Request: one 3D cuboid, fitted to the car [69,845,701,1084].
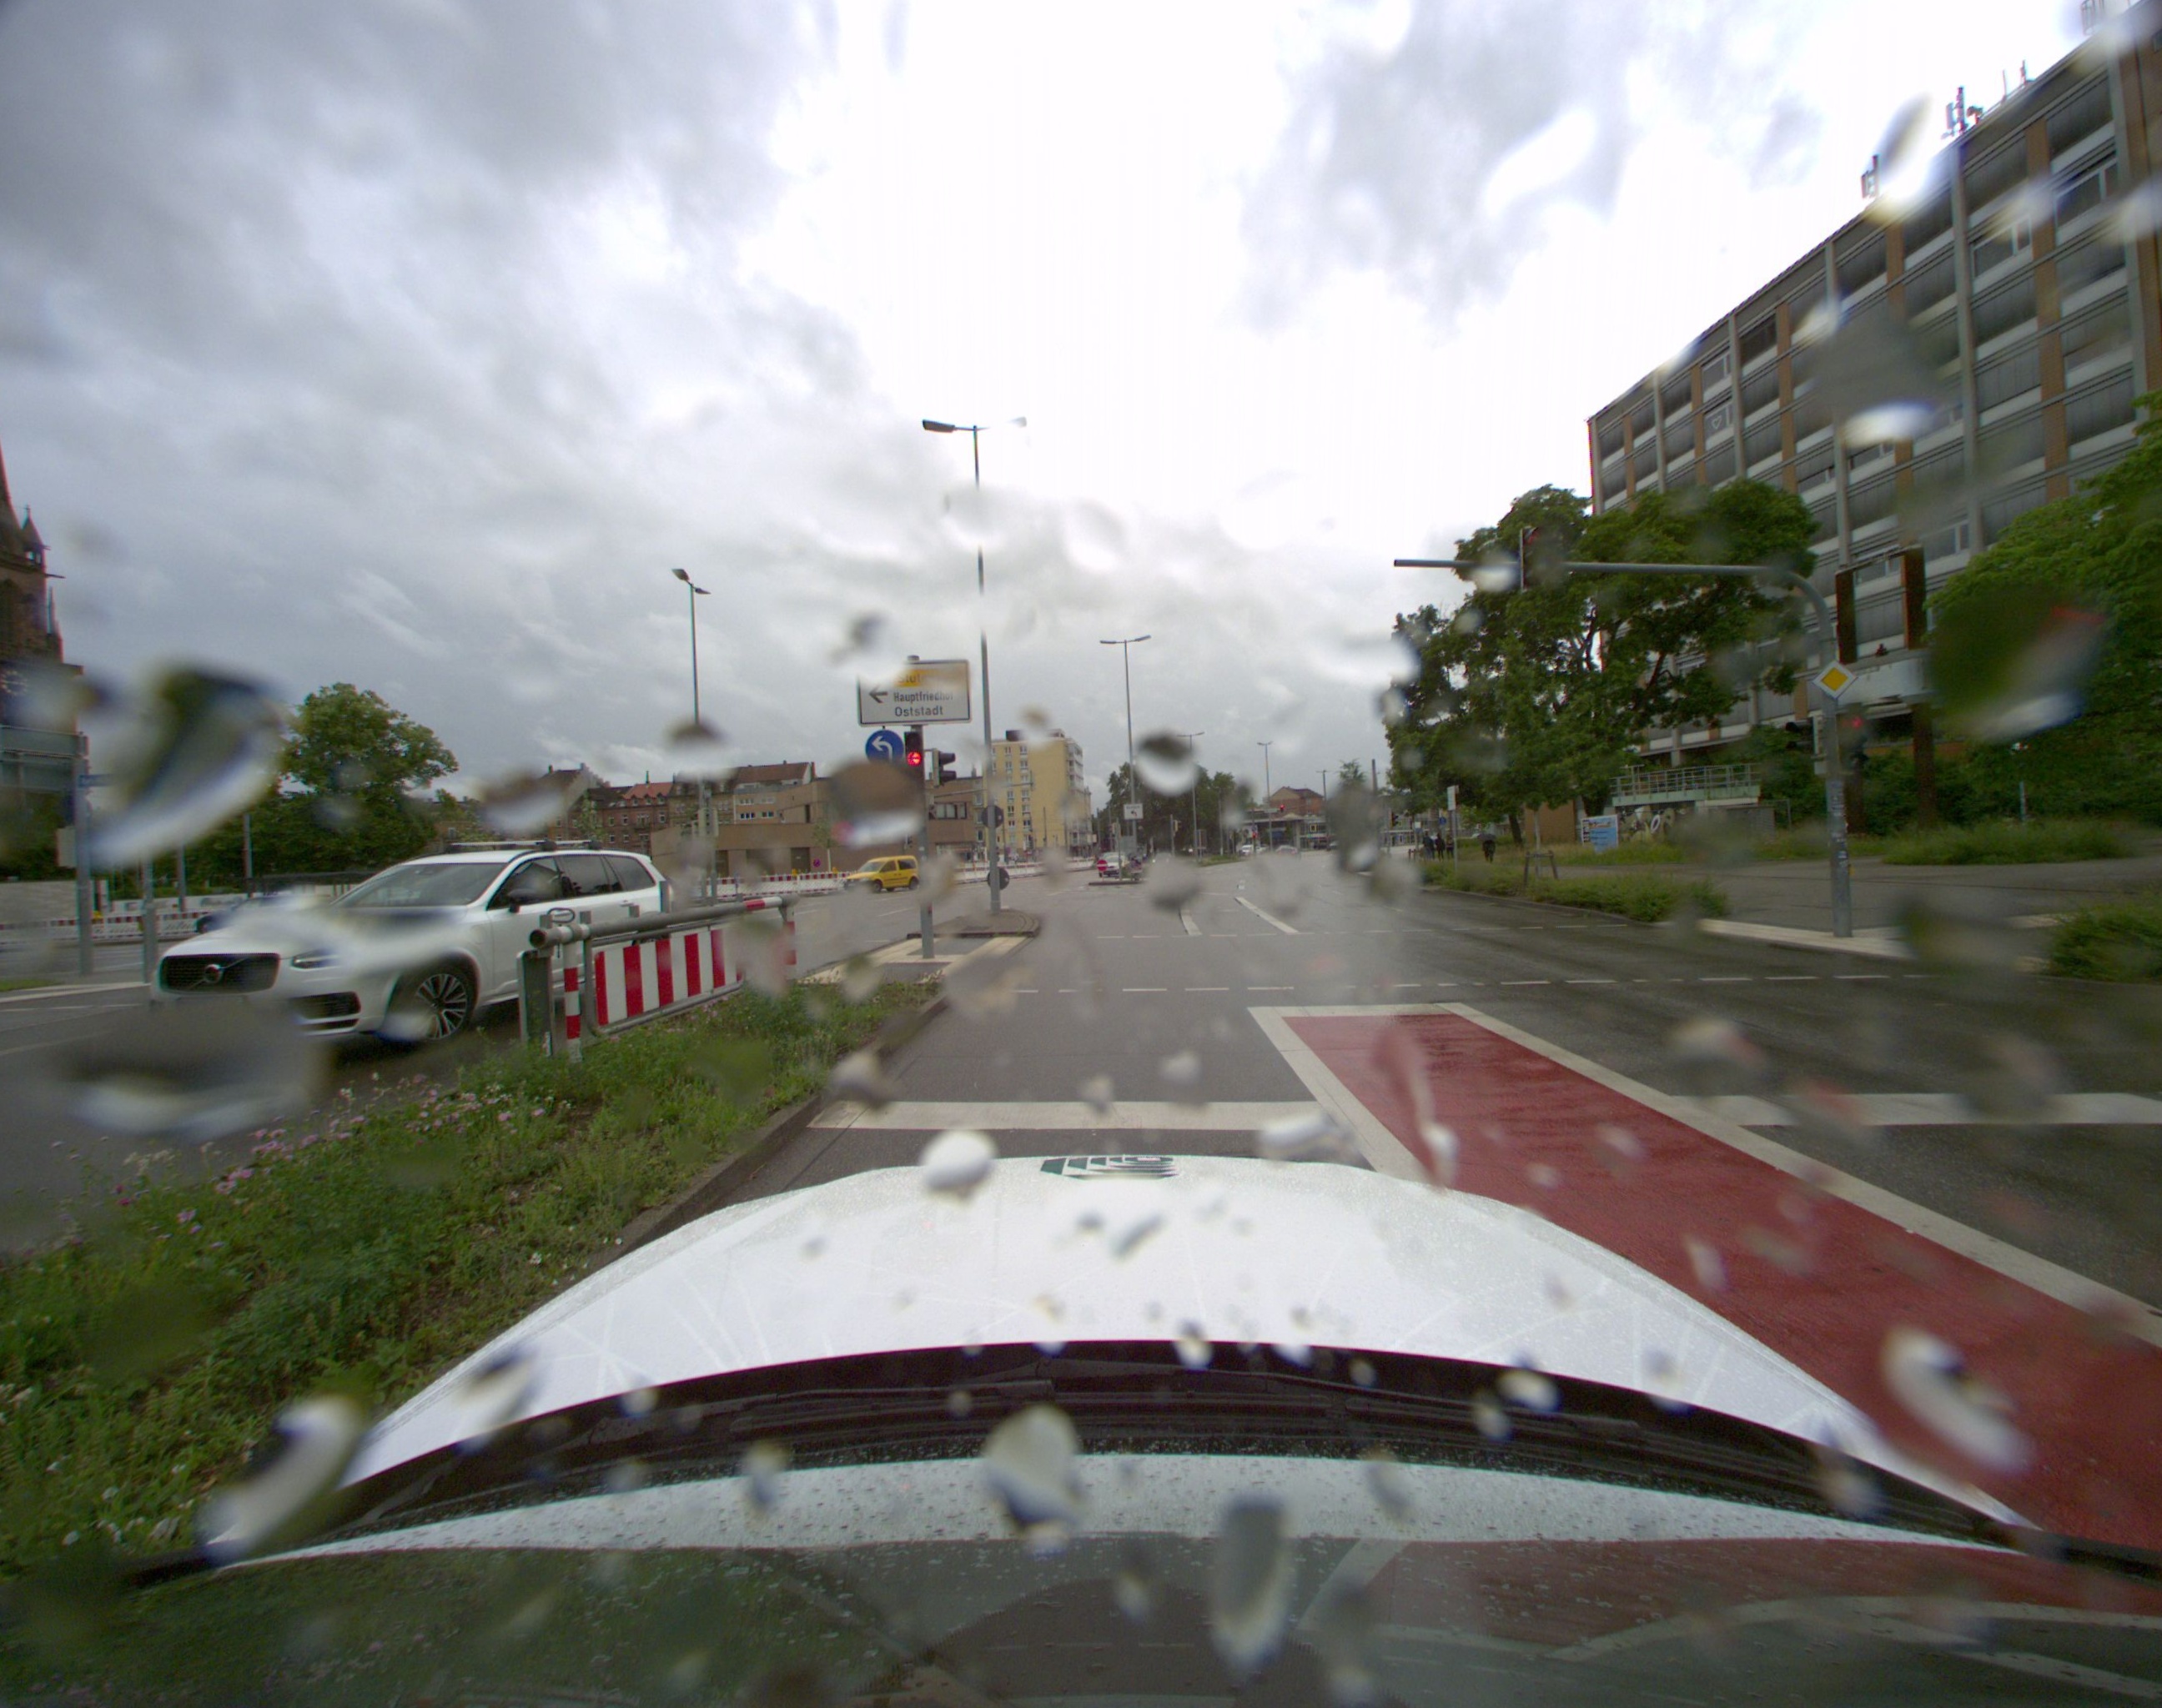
[{"bbox_3d":[-6.238,0.790,8.449,1.818,1.682,5.171,-2,0,4],"label":"car"}]

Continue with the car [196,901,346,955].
[{"bbox_3d":[-31.255,2.833,31.510,3.803,1.706,1.707,-3,0,-6],"label":"car"}]

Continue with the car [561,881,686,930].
[{"bbox_3d":[-19.360,2.127,34.676,4.470,1.706,1.696,-3,0,-27],"label":"car"}]

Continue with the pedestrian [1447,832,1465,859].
[{"bbox_3d":[22.648,-0.497,49.217,0.698,1.588,0.939,-3,0,12],"label":"pedestrian"}]

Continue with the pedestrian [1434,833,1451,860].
[{"bbox_3d":[21.898,-0.458,49.368,0.698,1.588,0.939,-3,0,12],"label":"pedestrian"}]

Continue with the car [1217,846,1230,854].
[{"bbox_3d":[33.212,-0.889,189.599,1.773,1.643,4.184,-3,0,25],"label":"car"}]

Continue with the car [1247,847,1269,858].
[{"bbox_3d":[30.401,-0.299,140.046,1.772,1.643,4.425,-3,0,39],"label":"car"}]

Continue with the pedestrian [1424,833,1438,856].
[{"bbox_3d":[24.190,-0.656,56.332,0.698,1.588,0.940,-3,0,14],"label":"pedestrian"}]

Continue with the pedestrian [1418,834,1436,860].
[{"bbox_3d":[21.231,-0.423,49.972,0.749,1.588,0.939,-3,0,12],"label":"pedestrian"}]

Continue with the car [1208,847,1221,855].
[{"bbox_3d":[31.183,-0.788,190.477,1.773,1.643,4.184,-3,0,25],"label":"car"}]

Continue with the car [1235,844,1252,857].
[{"bbox_3d":[24.730,-0.494,123.739,1.774,1.858,4.182,-3,0,22],"label":"car"}]

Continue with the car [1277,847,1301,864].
[{"bbox_3d":[22.191,0.160,86.911,1.774,1.643,4.183,-3,0,23],"label":"car"}]

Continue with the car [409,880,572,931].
[{"bbox_3d":[-19.944,1.729,27.639,4.184,1.402,1.615,-3,0,-5],"label":"car"}]

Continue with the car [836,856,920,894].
[{"bbox_3d":[-10.176,1.035,41.123,1.689,1.706,4.178,-3,0,28],"label":"car"}]

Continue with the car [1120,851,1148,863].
[{"bbox_3d":[8.637,0.497,132.689,4.163,1.858,1.782,-3,0,-22],"label":"car"}]

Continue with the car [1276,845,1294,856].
[{"bbox_3d":[32.104,-0.530,128.114,1.773,1.643,4.071,-3,0,29],"label":"car"}]

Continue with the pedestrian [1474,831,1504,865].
[{"bbox_3d":[19.640,-0.290,39.238,1.015,1.588,0.939,-3,0,12],"label":"pedestrian"}]

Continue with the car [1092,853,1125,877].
[{"bbox_3d":[1.974,0.767,57.261,1.683,1.415,4.196,-3,1,10],"label":"car"}]

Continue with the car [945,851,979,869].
[{"bbox_3d":[-20.908,1.087,143.040,5.326,2.887,2.342,-3,0,4],"label":"car"}]

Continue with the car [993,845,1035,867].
[{"bbox_3d":[-11.619,0.313,142.174,6.711,3.380,2.813,-3,0,4],"label":"car"}]

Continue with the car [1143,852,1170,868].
[{"bbox_3d":[7.109,0.522,76.233,1.758,1.376,4.138,-2,0,16],"label":"car"}]
